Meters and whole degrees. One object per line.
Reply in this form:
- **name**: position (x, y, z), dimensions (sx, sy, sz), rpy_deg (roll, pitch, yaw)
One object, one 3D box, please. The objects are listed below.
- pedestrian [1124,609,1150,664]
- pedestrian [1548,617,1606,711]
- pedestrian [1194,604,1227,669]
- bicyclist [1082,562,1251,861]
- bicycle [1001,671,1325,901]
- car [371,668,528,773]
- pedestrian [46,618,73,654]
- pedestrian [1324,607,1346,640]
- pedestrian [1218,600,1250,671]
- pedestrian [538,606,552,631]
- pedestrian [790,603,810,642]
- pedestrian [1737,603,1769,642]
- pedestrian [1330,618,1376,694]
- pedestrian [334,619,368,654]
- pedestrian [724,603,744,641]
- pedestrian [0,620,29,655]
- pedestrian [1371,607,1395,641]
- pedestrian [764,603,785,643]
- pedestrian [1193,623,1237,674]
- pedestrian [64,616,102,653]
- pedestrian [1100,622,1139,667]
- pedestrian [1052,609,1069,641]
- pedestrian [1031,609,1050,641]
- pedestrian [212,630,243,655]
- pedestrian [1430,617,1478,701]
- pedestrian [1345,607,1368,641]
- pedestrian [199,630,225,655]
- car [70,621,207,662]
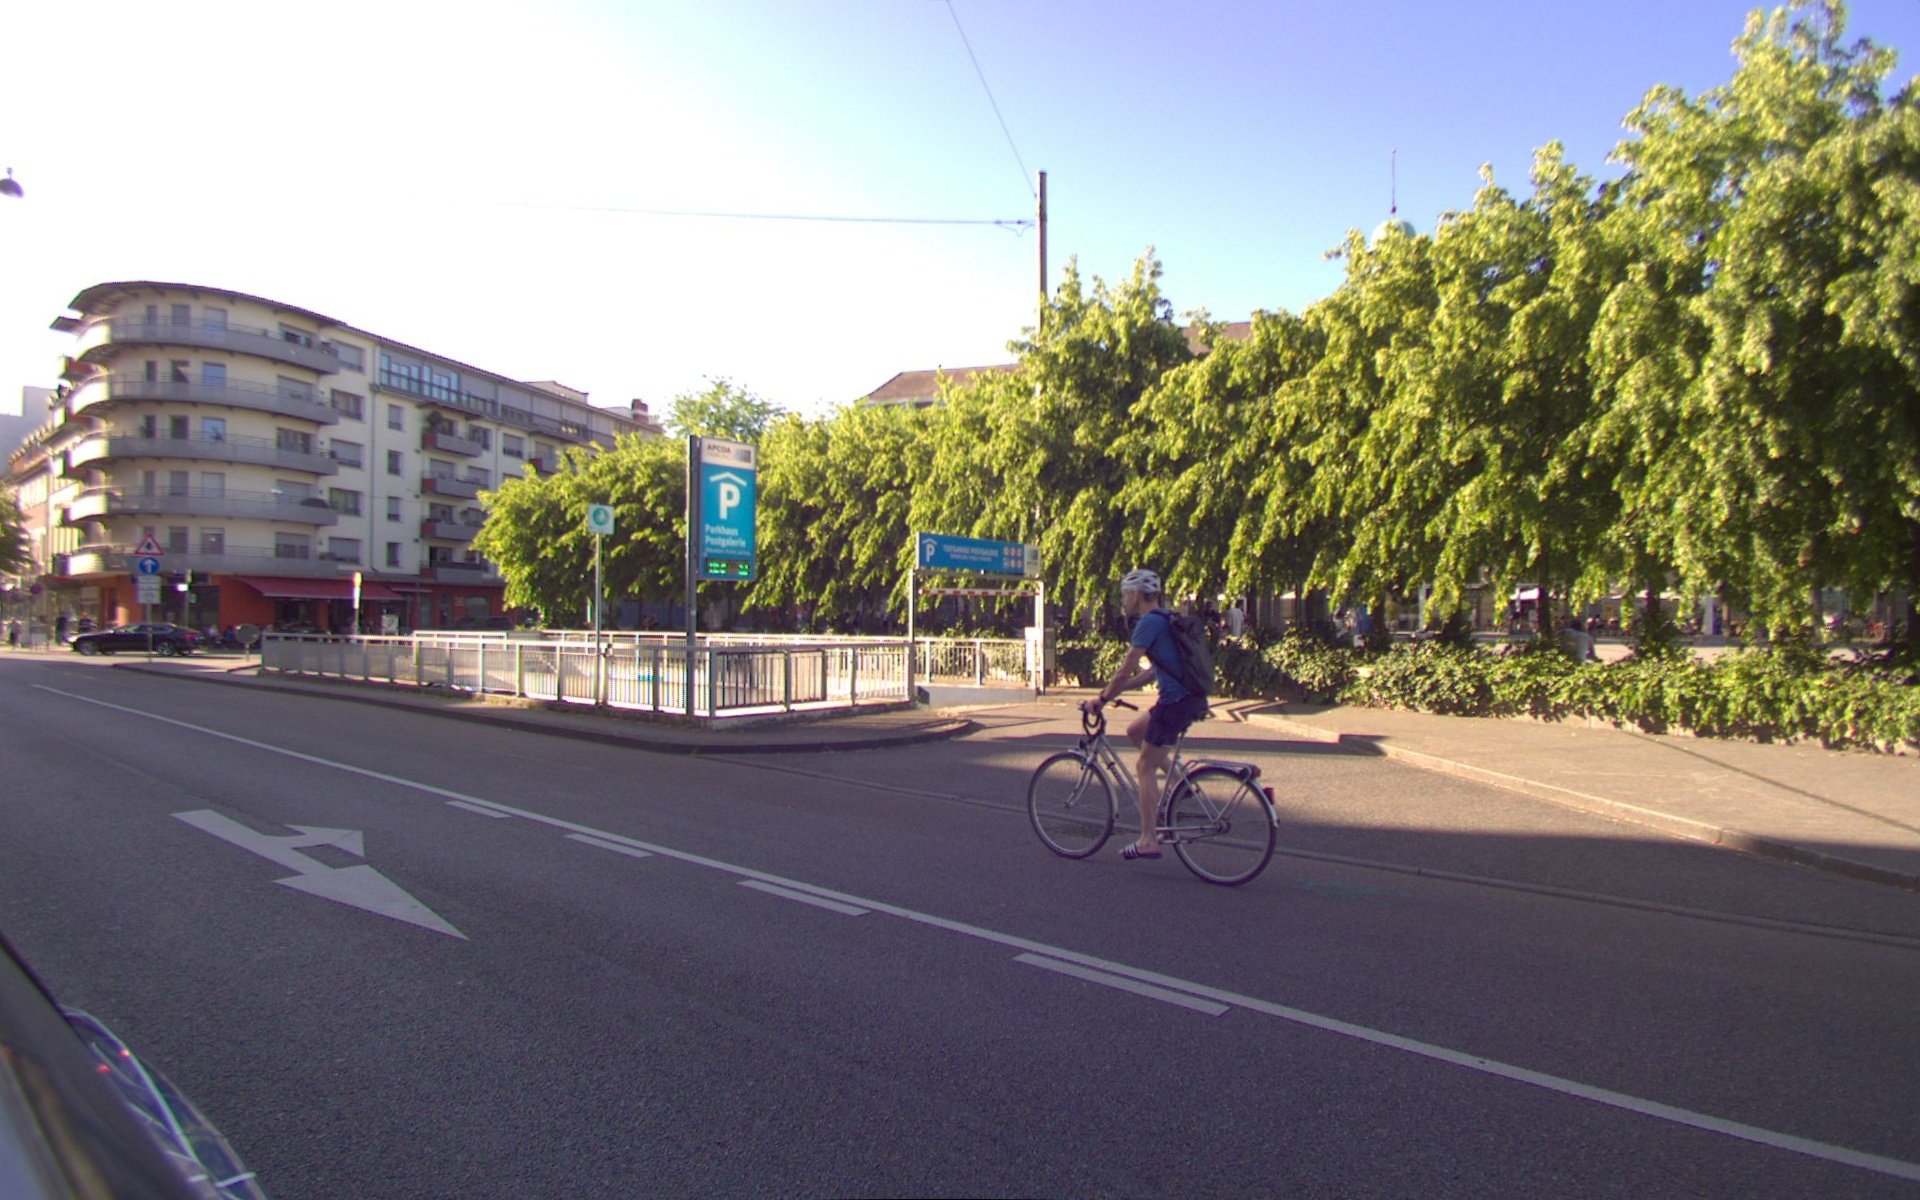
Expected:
- **pedestrian**: position (4.539, 0.929, 25.936), dimensions (0.545, 1.385, 0.680), rpy_deg (-1, 0, 19)
- **pedestrian**: position (9.798, 1.010, 16.094), dimensions (0.611, 1.447, 0.588), rpy_deg (-1, 0, 14)
- **pedestrian**: position (5.936, 0.848, 23.996), dimensions (0.688, 1.511, 0.680), rpy_deg (-1, 0, 19)
- **bicyclist**: position (1.304, 0.655, 6.374), dimensions (0.809, 1.722, 0.694), rpy_deg (-1, -3, 40)
- **bicycle**: position (1.230, 1.082, 6.419), dimensions (1.955, 1.171, 0.610), rpy_deg (0, -3, 39)
- **car**: position (-11.334, 2.573, 22.371), dimensions (3.905, 1.541, 1.617), rpy_deg (6, 4, 39)
- **pedestrian**: position (-49.721, 1.954, 55.854), dimensions (0.790, 1.934, 0.978), rpy_deg (-1, 0, 37)
- **pedestrian**: position (17.496, 1.094, 47.226), dimensions (0.673, 1.535, 0.695), rpy_deg (-1, 0, -7)
- **pedestrian**: position (6.289, 0.802, 23.212), dimensions (0.524, 1.594, 0.677), rpy_deg (-1, 0, 32)
- **pedestrian**: position (-31.147, 1.396, 75.904), dimensions (0.684, 1.857, 0.737), rpy_deg (-1, 0, 41)
- **pedestrian**: position (-7.868, 1.095, 49.725), dimensions (0.681, 1.857, 0.741), rpy_deg (-1, 0, 27)
- **pedestrian**: position (31.953, 0.913, 40.775), dimensions (0.731, 1.542, 0.693), rpy_deg (-1, 0, 5)
- **pedestrian**: position (7.515, 1.059, 19.349), dimensions (0.622, 1.409, 0.644), rpy_deg (-1, 0, 44)
- **pedestrian**: position (-30.624, 1.815, 50.910), dimensions (1.250, 1.678, 1.143), rpy_deg (-1, 0, -21)
- **pedestrian**: position (-11.236, 1.083, 50.419), dimensions (0.679, 1.857, 0.743), rpy_deg (-1, 0, 19)
- **pedestrian**: position (-47.574, 1.869, 50.736), dimensions (1.076, 1.732, 1.059), rpy_deg (-1, 0, 28)
- **pedestrian**: position (19.175, 1.072, 45.905), dimensions (0.672, 1.536, 0.696), rpy_deg (-1, 0, -19)
- **pedestrian**: position (-8.966, 1.099, 48.948), dimensions (0.681, 1.877, 0.741), rpy_deg (-1, 0, 27)
- **pedestrian**: position (5.657, 1.071, 22.459), dimensions (0.682, 1.079, 0.686), rpy_deg (-1, 0, -13)
- **pedestrian**: position (-43.256, 1.694, 49.922), dimensions (0.954, 1.762, 1.055), rpy_deg (-1, 0, 17)
- **pedestrian**: position (3.946, 1.090, 25.035), dimensions (0.682, 1.079, 0.686), rpy_deg (-1, 0, -29)
- **pedestrian**: position (4.463, 1.106, 44.821), dimensions (0.684, 1.385, 0.684), rpy_deg (-1, 0, 1)
- **pedestrian**: position (3.568, 1.118, 44.858), dimensions (0.752, 1.385, 0.684), rpy_deg (-1, 0, 1)
- **pedestrian**: position (-36.828, 2.123, 50.900), dimensions (0.827, 1.207, 0.931), rpy_deg (-1, 0, 16)
- **pedestrian**: position (8.742, 1.024, 17.903), dimensions (0.621, 1.447, 0.645), rpy_deg (-1, 0, 39)
- **pedestrian**: position (18.179, 1.085, 46.461), dimensions (0.672, 1.542, 0.696), rpy_deg (-1, 0, -18)
- **pedestrian**: position (-37.648, 2.134, 50.944), dimensions (0.882, 1.207, 0.772), rpy_deg (-1, 0, 30)
- **car**: position (-34.281, 1.714, 42.368), dimensions (4.176, 1.542, 1.682), rpy_deg (-1, 0, -26)
